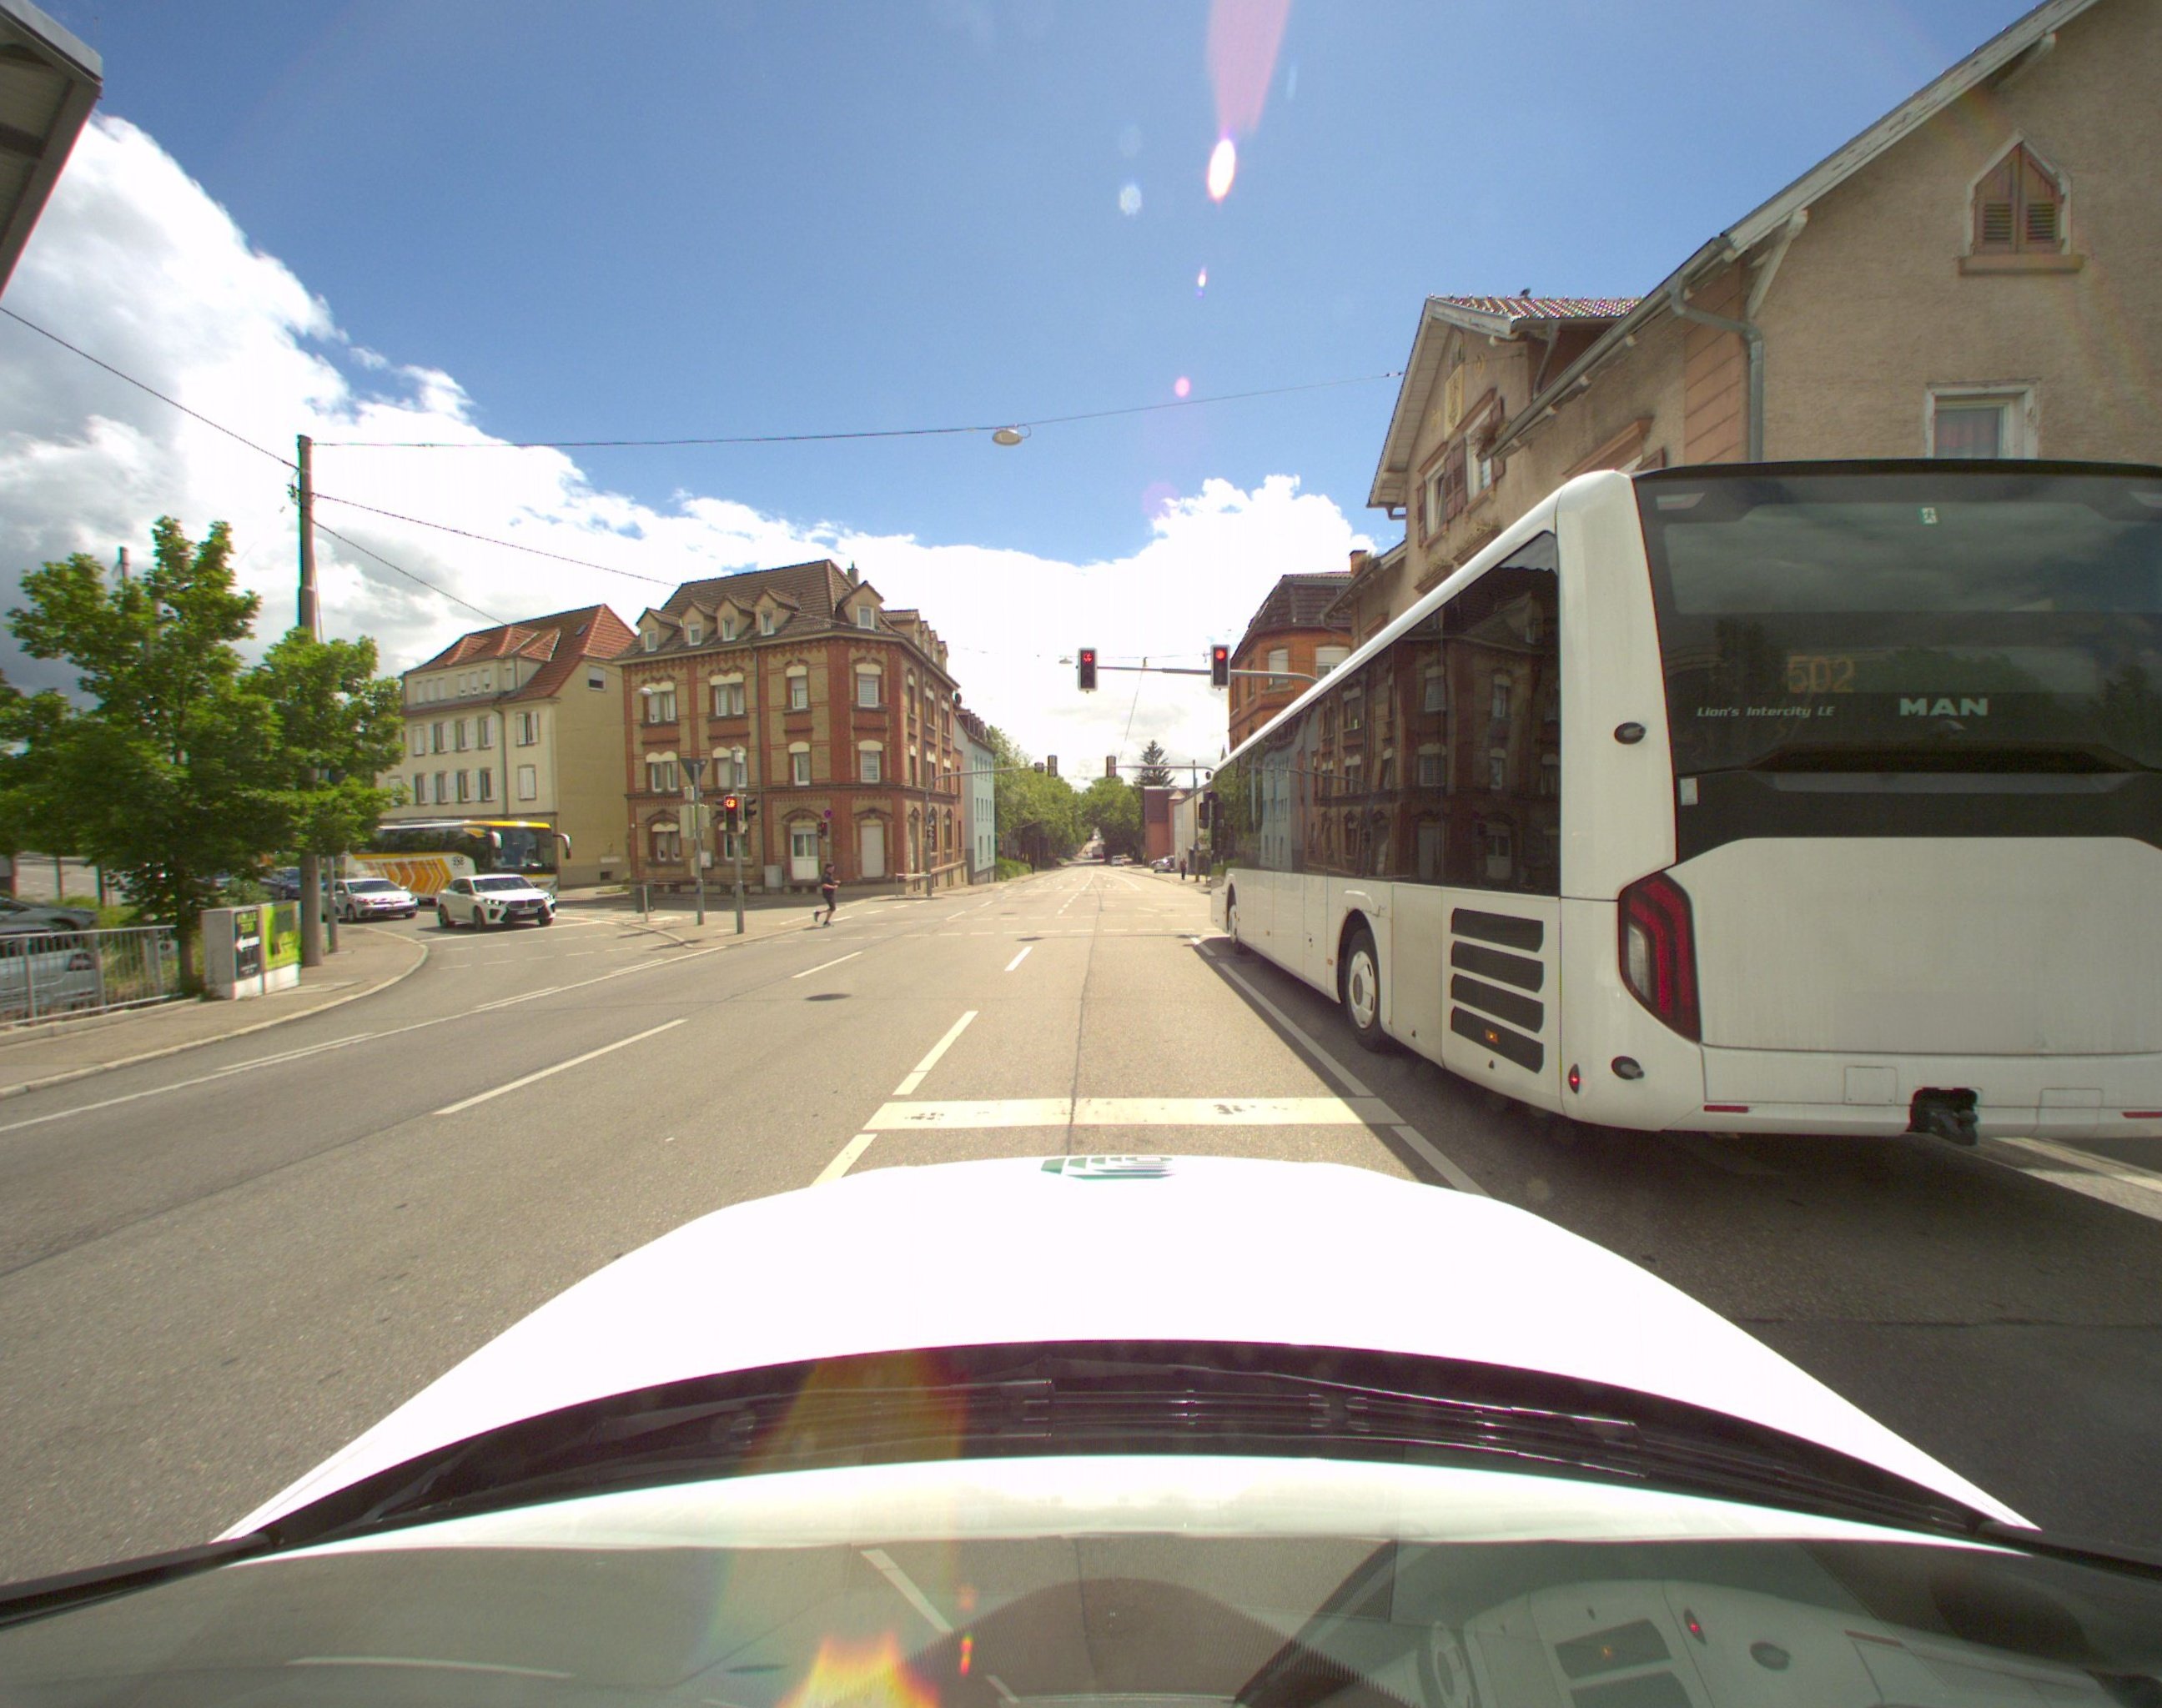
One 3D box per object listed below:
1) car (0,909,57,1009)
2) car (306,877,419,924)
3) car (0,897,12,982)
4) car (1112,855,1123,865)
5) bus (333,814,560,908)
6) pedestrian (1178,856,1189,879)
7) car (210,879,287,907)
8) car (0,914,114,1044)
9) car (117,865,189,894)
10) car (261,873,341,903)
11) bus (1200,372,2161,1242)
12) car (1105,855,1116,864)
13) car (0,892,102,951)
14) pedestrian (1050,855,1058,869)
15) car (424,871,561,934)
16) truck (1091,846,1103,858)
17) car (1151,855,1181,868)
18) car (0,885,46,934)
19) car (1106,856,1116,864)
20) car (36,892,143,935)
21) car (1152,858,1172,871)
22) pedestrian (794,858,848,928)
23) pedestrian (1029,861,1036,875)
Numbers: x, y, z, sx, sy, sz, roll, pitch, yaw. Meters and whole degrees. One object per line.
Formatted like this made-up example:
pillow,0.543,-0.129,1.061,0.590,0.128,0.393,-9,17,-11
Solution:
car,-19.601,1.843,14.176,3.455,1.526,1.626,-1,2,29
car,-24.782,1.576,28.068,3.574,1.418,1.896,-2,0,31
car,-23.427,1.752,16.478,3.455,1.680,1.663,-1,2,30
car,5.775,0.950,129.515,1.788,1.409,4.001,-1,0,1
bus,-27.638,0.380,35.194,12.110,3.622,2.788,-1,0,27
pedestrian,7.964,1.061,63.308,0.736,1.750,0.619,-2,0,1
car,-45.626,2.121,44.621,3.949,1.409,1.923,-2,0,29
car,-15.991,1.800,12.041,3.321,1.560,1.692,0,2,32
car,-53.679,1.494,47.098,3.949,1.554,1.923,-2,0,29
car,-39.164,1.694,40.867,3.949,1.409,1.762,-2,0,28
bus,3.431,-0.167,9.242,2.662,3.155,12.467,-2,0,2
car,5.295,0.989,145.913,1.787,1.409,4.421,-1,0,3
car,-29.543,1.867,22.139,1.777,1.477,3.522,-2,0,32
pedestrian,-4.115,1.221,124.107,0.991,2.013,1.189,-2,0,1
car,-17.590,1.403,24.290,4.250,1.551,1.846,-2,3,34
truck,4.204,-0.567,213.288,2.917,3.081,7.883,-2,0,0
car,11.779,1.045,113.071,3.978,1.757,1.998,-2,0,-3
car,-36.227,1.846,25.730,1.785,1.554,4.023,-2,0,25
car,5.753,1.126,154.013,1.787,1.409,4.421,-1,0,3
car,-37.448,2.220,30.756,3.456,1.448,1.811,-2,0,26
car,9.231,1.175,93.016,1.788,1.409,4.000,-2,0,1
pedestrian,-6.711,0.990,21.051,1.138,1.734,0.758,-2,0,-3
pedestrian,-5.588,1.612,93.071,0.727,1.565,0.561,-1,-1,0
